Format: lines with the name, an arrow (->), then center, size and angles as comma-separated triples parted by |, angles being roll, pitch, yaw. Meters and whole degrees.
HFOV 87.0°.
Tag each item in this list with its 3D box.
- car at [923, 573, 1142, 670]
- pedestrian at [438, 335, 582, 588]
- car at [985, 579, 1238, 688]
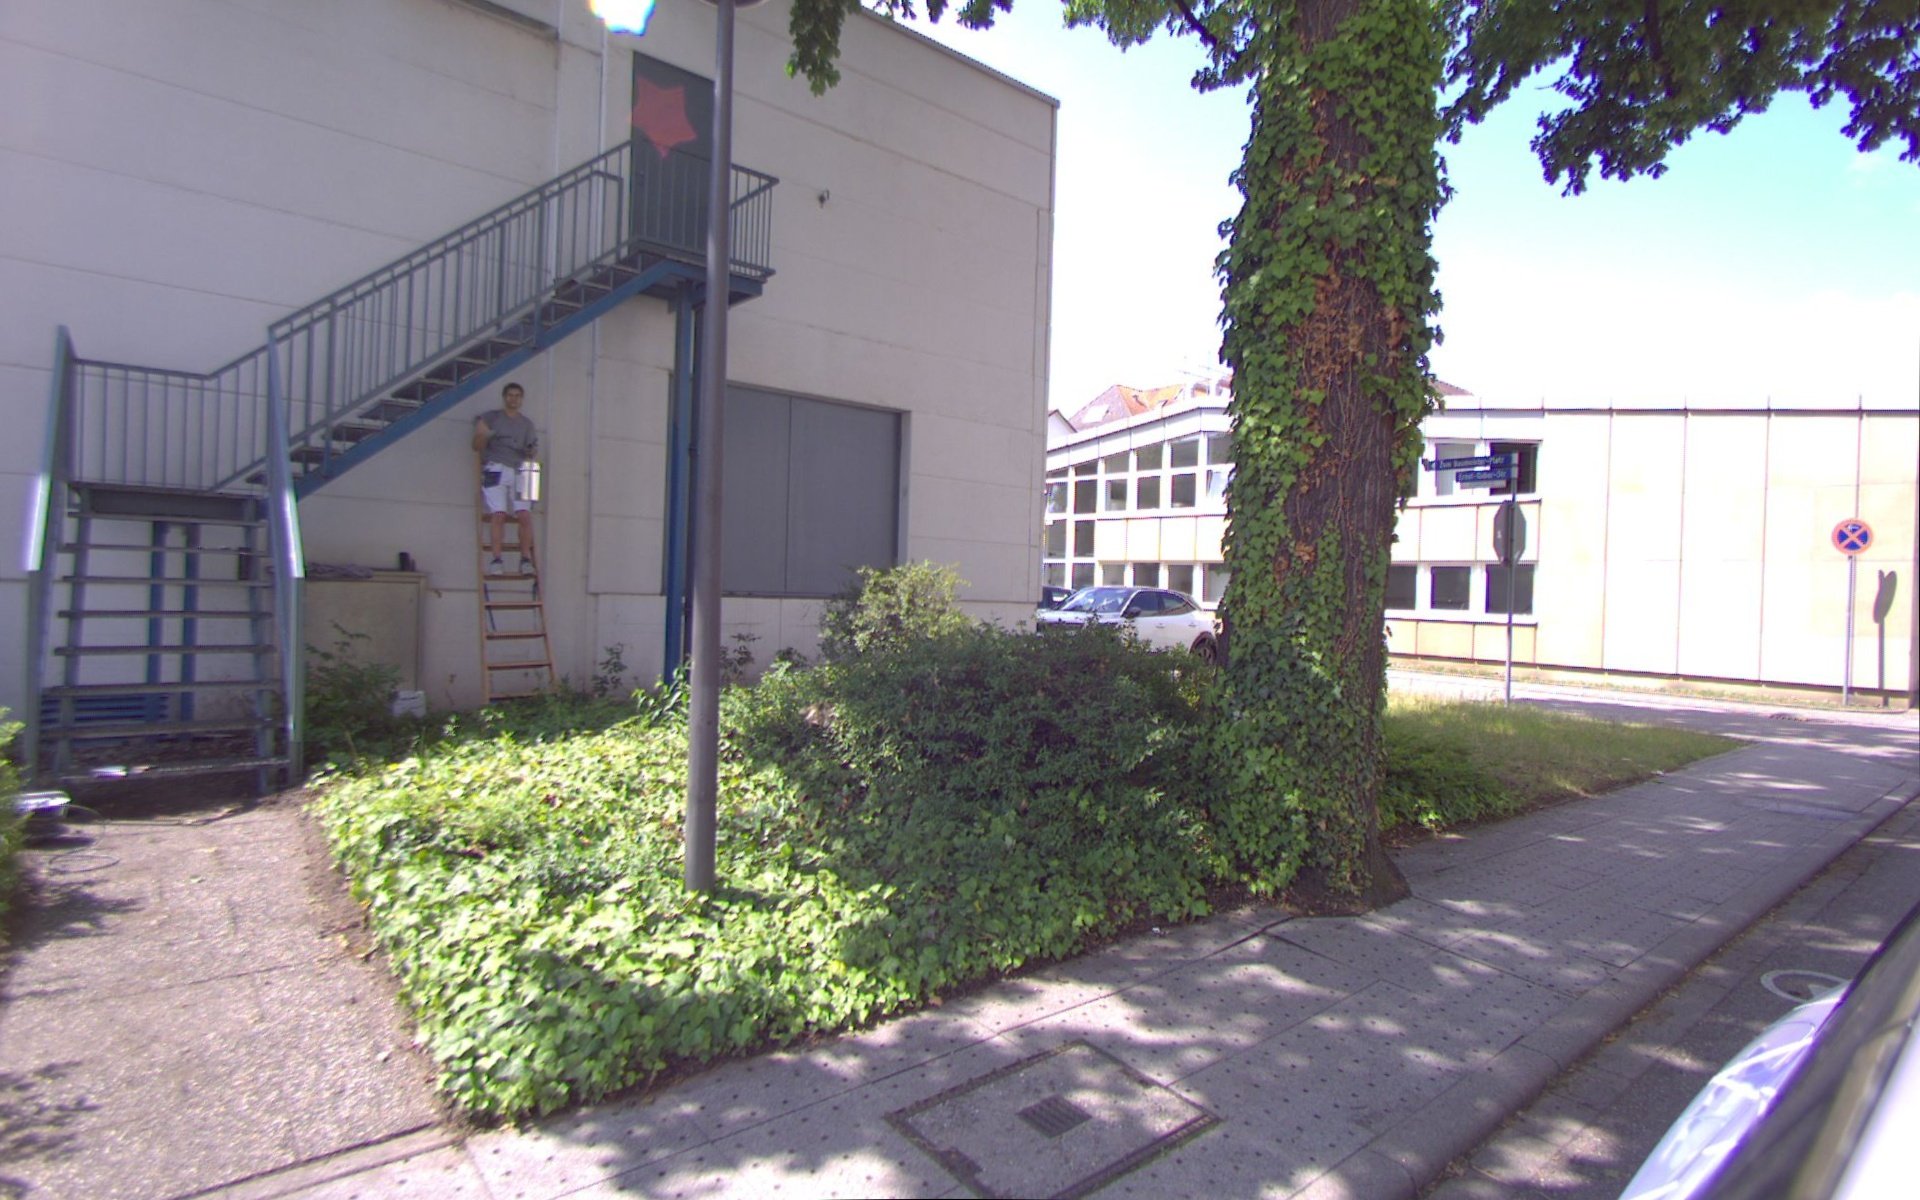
car -> 1.426, 0.370, 19.076 | 3.928, 1.598, 1.829 | 1, 1, -40
pedestrian -> -3.974, -1.151, 8.917 | 0.932, 2.039, 0.930 | 2, 1, -36
car -> 2.503, 0.477, 16.133 | 4.107, 1.495, 1.670 | 1, 1, -40
